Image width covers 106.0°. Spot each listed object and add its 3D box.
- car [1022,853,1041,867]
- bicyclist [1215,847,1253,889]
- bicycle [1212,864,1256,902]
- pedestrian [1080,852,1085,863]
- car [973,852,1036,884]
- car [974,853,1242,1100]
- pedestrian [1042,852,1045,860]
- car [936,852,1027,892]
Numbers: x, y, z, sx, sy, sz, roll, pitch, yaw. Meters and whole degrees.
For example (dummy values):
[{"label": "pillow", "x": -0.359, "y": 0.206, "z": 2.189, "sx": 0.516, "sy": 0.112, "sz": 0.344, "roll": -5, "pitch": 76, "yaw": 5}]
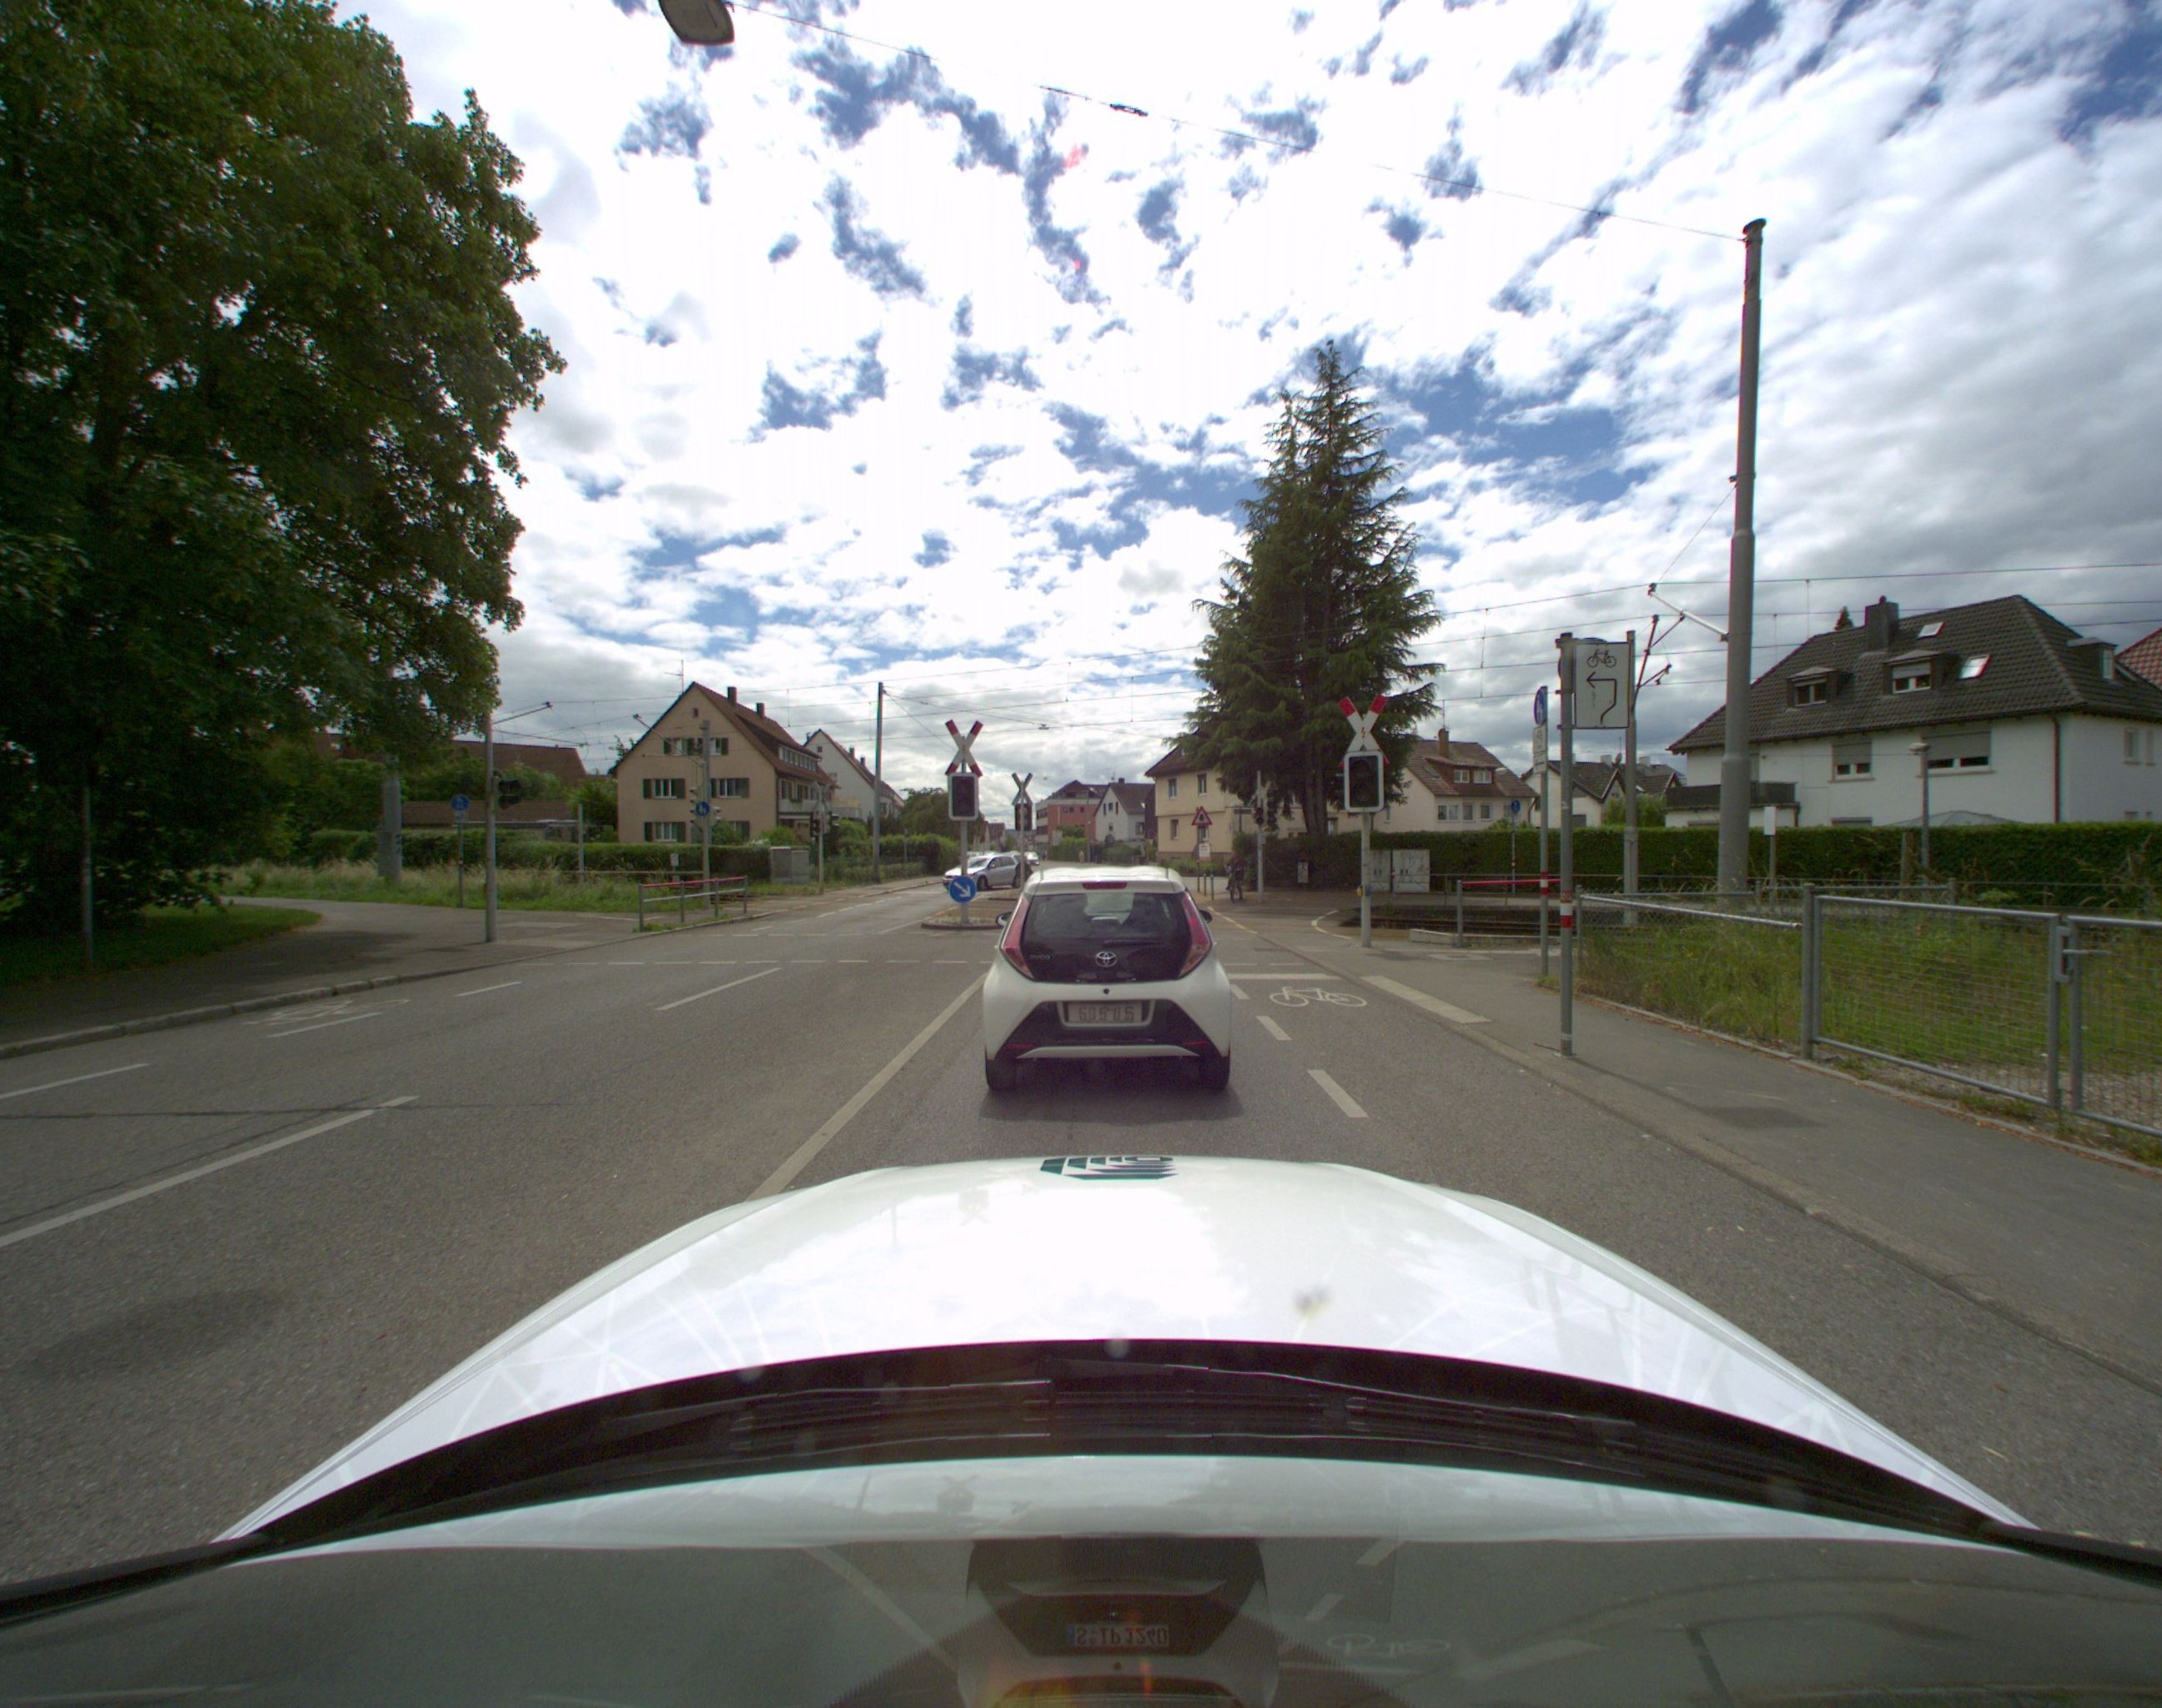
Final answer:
[{"label": "car", "x": -5.710, "y": 0.641, "z": 93.001, "sx": 1.775, "sy": 1.561, "sz": 4.156, "roll": -1, "pitch": 0, "yaw": -9}, {"label": "bicyclist", "x": 4.879, "y": 0.428, "z": 25.909, "sx": 0.923, "sy": 1.247, "sz": 1.109, "roll": -2, "pitch": 2, "yaw": 23}, {"label": "bicycle", "x": 4.888, "y": 0.915, "z": 25.890, "sx": 0.923, "sy": 1.040, "sz": 1.926, "roll": -2, "pitch": 2, "yaw": 23}, {"label": "pedestrian", "x": 0.155, "y": 0.436, "z": 103.058, "sx": 0.440, "sy": 1.437, "sz": 0.410, "roll": 0, "pitch": 0, "yaw": -39}, {"label": "car", "x": -3.800, "y": 0.666, "z": 40.730, "sx": 1.560, "sy": 1.510, "sz": 2.805, "roll": 0, "pitch": 0, "yaw": 40}, {"label": "car", "x": 0.227, "y": 0.764, "z": 6.970, "sx": 1.615, "sy": 1.486, "sz": 4.001, "roll": -1, "pitch": -1, "yaw": 2}, {"label": "pedestrian", "x": -6.414, "y": 0.351, "z": 138.345, "sx": 0.413, "sy": 1.437, "sz": 0.436, "roll": 0, "pitch": 0, "yaw": -9}, {"label": "car", "x": -4.134, "y": 0.721, "z": 34.532, "sx": 1.672, "sy": 1.458, "sz": 4.095, "roll": 0, "pitch": 2, "yaw": 31}]
